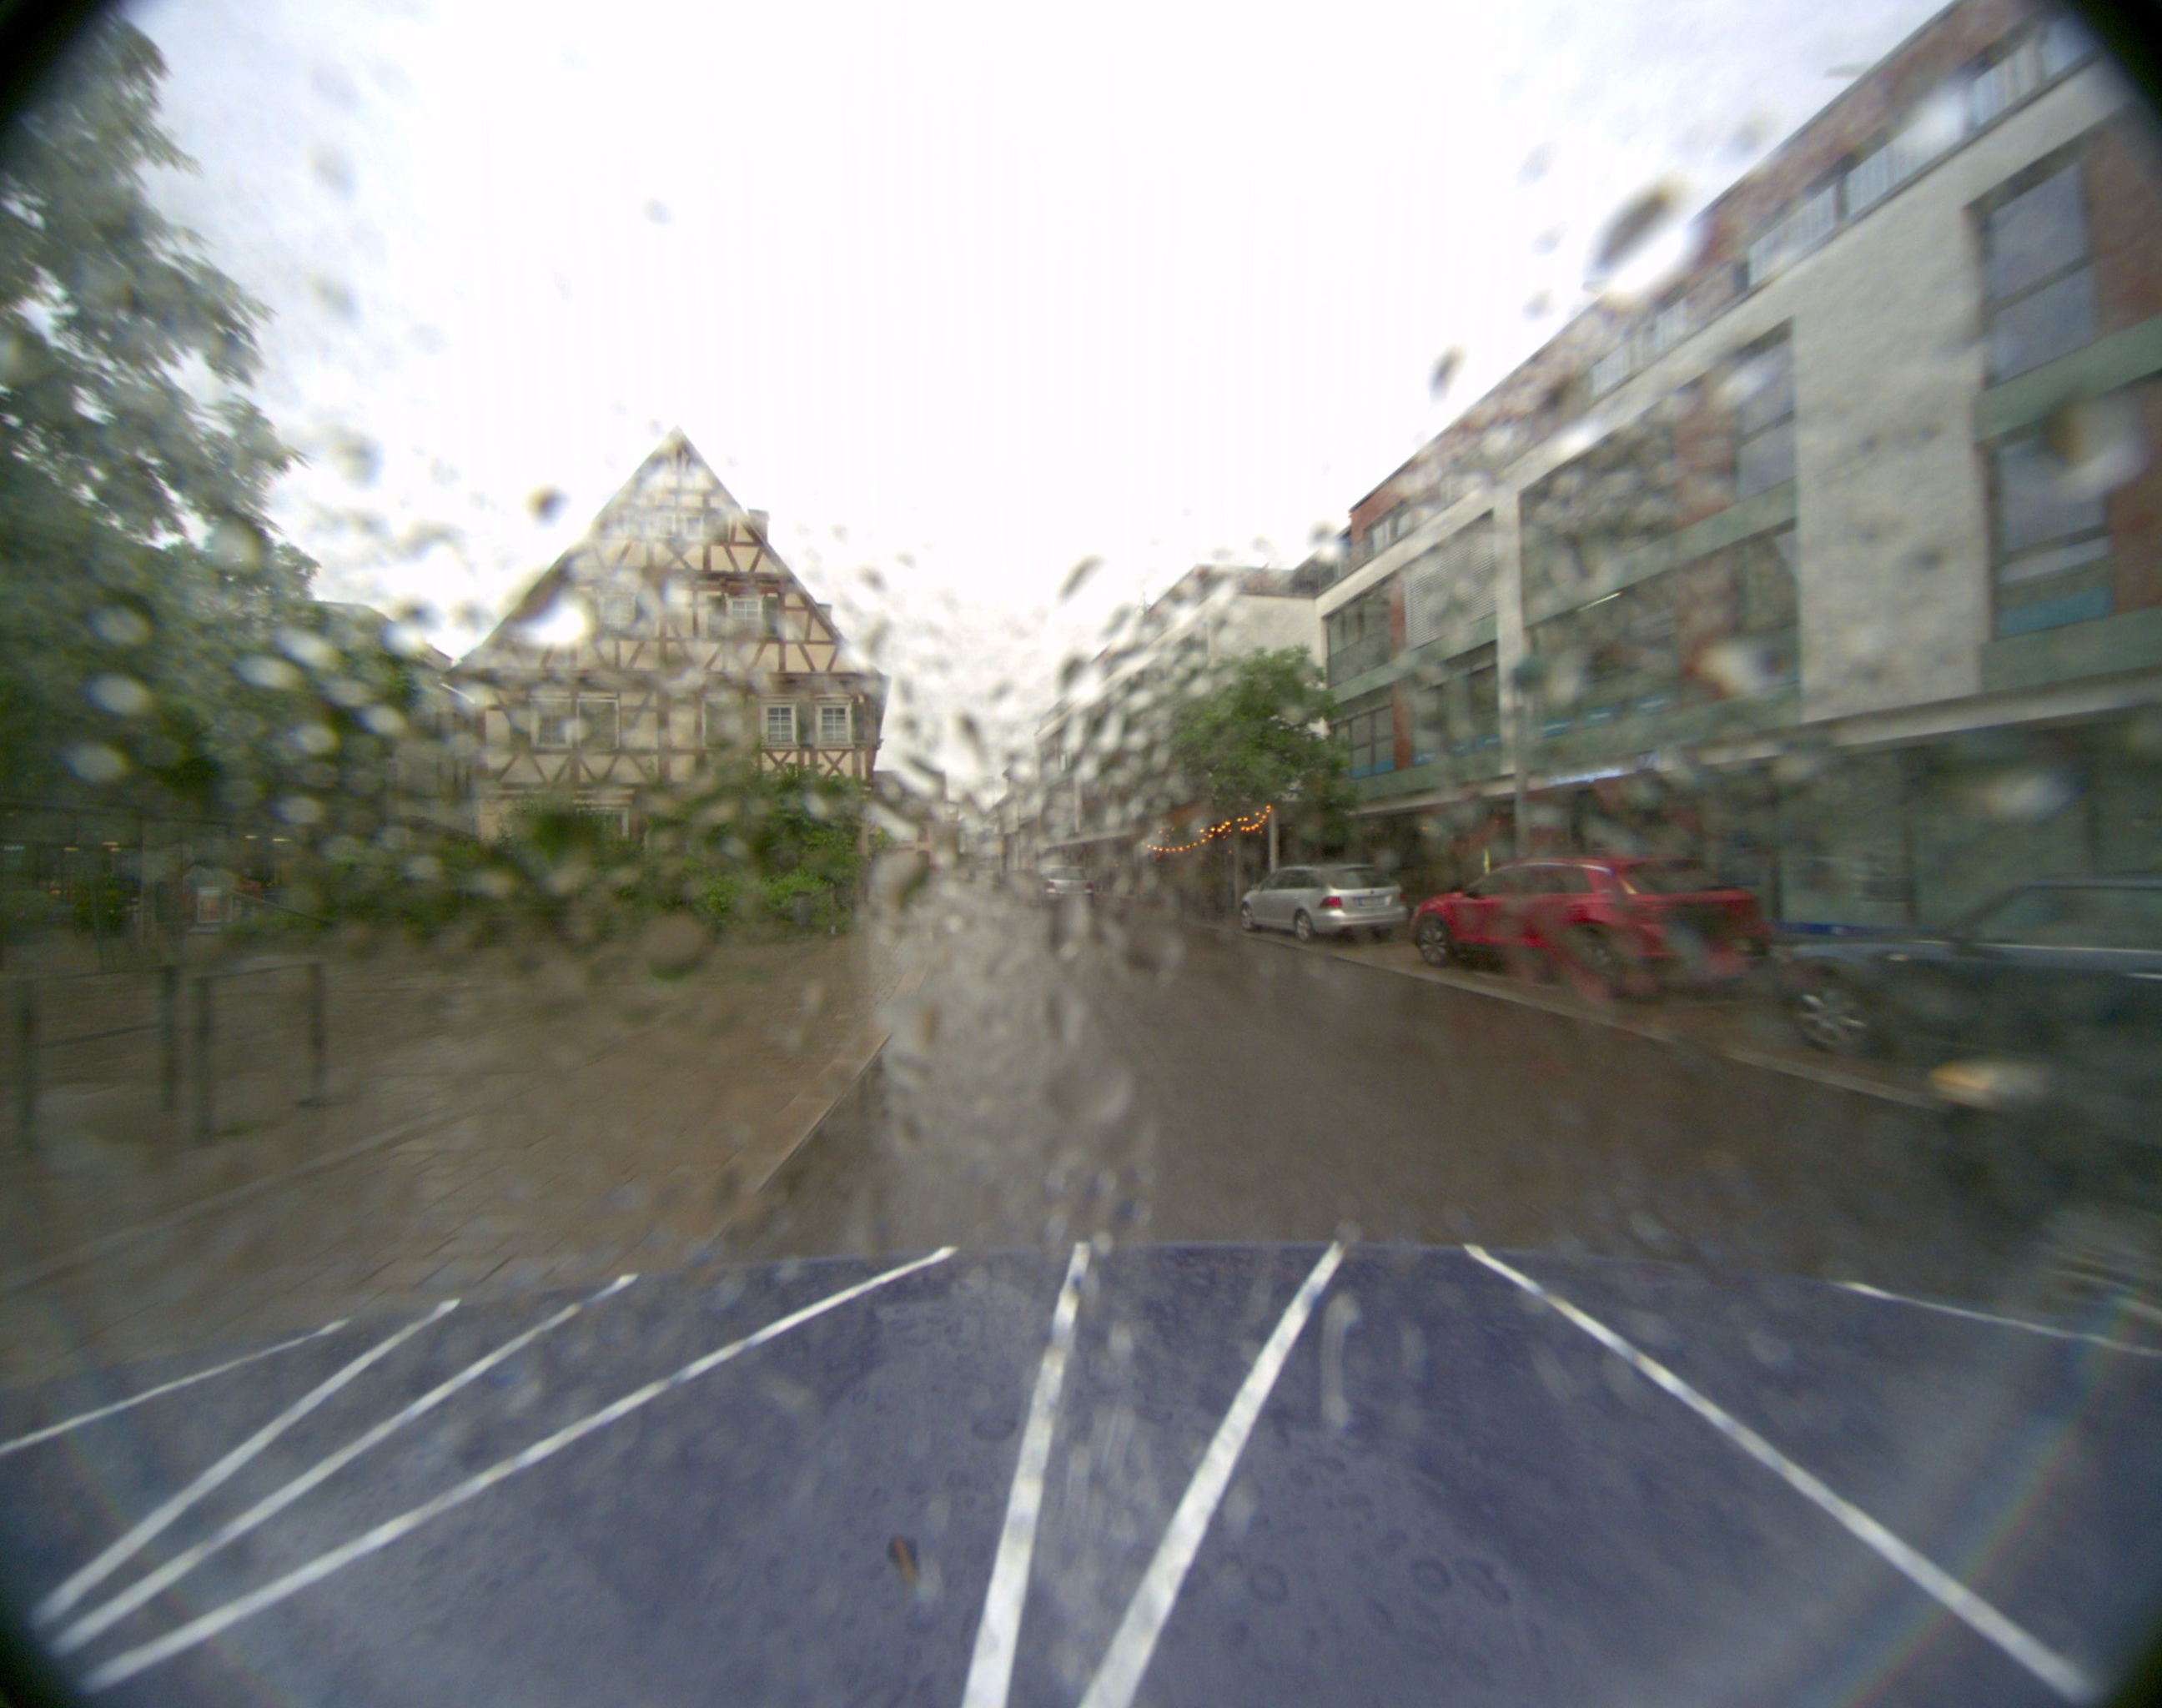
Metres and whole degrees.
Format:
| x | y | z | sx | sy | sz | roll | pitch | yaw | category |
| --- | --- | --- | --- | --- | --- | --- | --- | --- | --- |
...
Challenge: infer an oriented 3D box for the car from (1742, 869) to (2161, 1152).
| x | y | z | sx | sy | sz | roll | pitch | yaw | category |
| --- | --- | --- | --- | --- | --- | --- | --- | --- | --- |
| 6.672 | 0.874 | 4.523 | 1.720 | 1.449 | 3.907 | -2 | 0 | -9 | car |

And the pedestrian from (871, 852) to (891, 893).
| x | y | z | sx | sy | sz | roll | pitch | yaw | category |
| --- | --- | --- | --- | --- | --- | --- | --- | --- | --- |
| -9.239 | 0.852 | 35.090 | 0.813 | 1.874 | 0.906 | 1 | 0 | -18 | pedestrian |

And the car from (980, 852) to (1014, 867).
| x | y | z | sx | sy | sz | roll | pitch | yaw | category |
| --- | --- | --- | --- | --- | --- | --- | --- | --- | --- |
| -11.544 | 0.767 | 104.850 | 4.485 | 2.002 | 2.000 | 1 | 0 | 0 | car |

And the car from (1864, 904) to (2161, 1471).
| x | y | z | sx | sy | sz | roll | pitch | yaw | category |
| --- | --- | --- | --- | --- | --- | --- | --- | --- | --- |
| 3.741 | 0.888 | 0.762 | 1.653 | 1.437 | 3.982 | 1 | 0 | -4 | car |

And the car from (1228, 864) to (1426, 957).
| x | y | z | sx | sy | sz | roll | pitch | yaw | category |
| --- | --- | --- | --- | --- | --- | --- | --- | --- | --- |
| 4.678 | 0.986 | 15.225 | 1.793 | 1.490 | 4.449 | 0 | 0 | -12 | car |

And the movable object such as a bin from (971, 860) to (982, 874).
| x | y | z | sx | sy | sz | roll | pitch | yaw | category |
| --- | --- | --- | --- | --- | --- | --- | --- | --- | --- |
| -8.496 | 1.017 | 61.837 | 0.690 | 1.075 | 0.759 | -3 | 2 | -18 | movable object such as a bin |

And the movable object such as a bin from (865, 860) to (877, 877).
| x | y | z | sx | sy | sz | roll | pitch | yaw | category |
| --- | --- | --- | --- | --- | --- | --- | --- | --- | --- |
| -14.131 | 0.982 | 51.107 | 0.769 | 1.089 | 0.626 | 0 | 1 | -17 | movable object such as a bin |

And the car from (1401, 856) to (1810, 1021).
| x | y | z | sx | sy | sz | roll | pitch | yaw | category |
| --- | --- | --- | --- | --- | --- | --- | --- | --- | --- |
| 6.076 | 0.823 | 9.510 | 1.793 | 1.567 | 4.102 | 0 | 0 | -12 | car |

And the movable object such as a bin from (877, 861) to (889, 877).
| x | y | z | sx | sy | sz | roll | pitch | yaw | category |
| --- | --- | --- | --- | --- | --- | --- | --- | --- | --- |
| -13.273 | 1.015 | 51.003 | 0.769 | 1.089 | 0.580 | 0 | 1 | -17 | movable object such as a bin |

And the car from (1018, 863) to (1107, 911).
| x | y | z | sx | sy | sz | roll | pitch | yaw | category |
| --- | --- | --- | --- | --- | --- | --- | --- | --- | --- |
| -0.709 | 1.036 | 25.041 | 1.798 | 1.409 | 4.022 | 2 | 0 | -18 | car |
